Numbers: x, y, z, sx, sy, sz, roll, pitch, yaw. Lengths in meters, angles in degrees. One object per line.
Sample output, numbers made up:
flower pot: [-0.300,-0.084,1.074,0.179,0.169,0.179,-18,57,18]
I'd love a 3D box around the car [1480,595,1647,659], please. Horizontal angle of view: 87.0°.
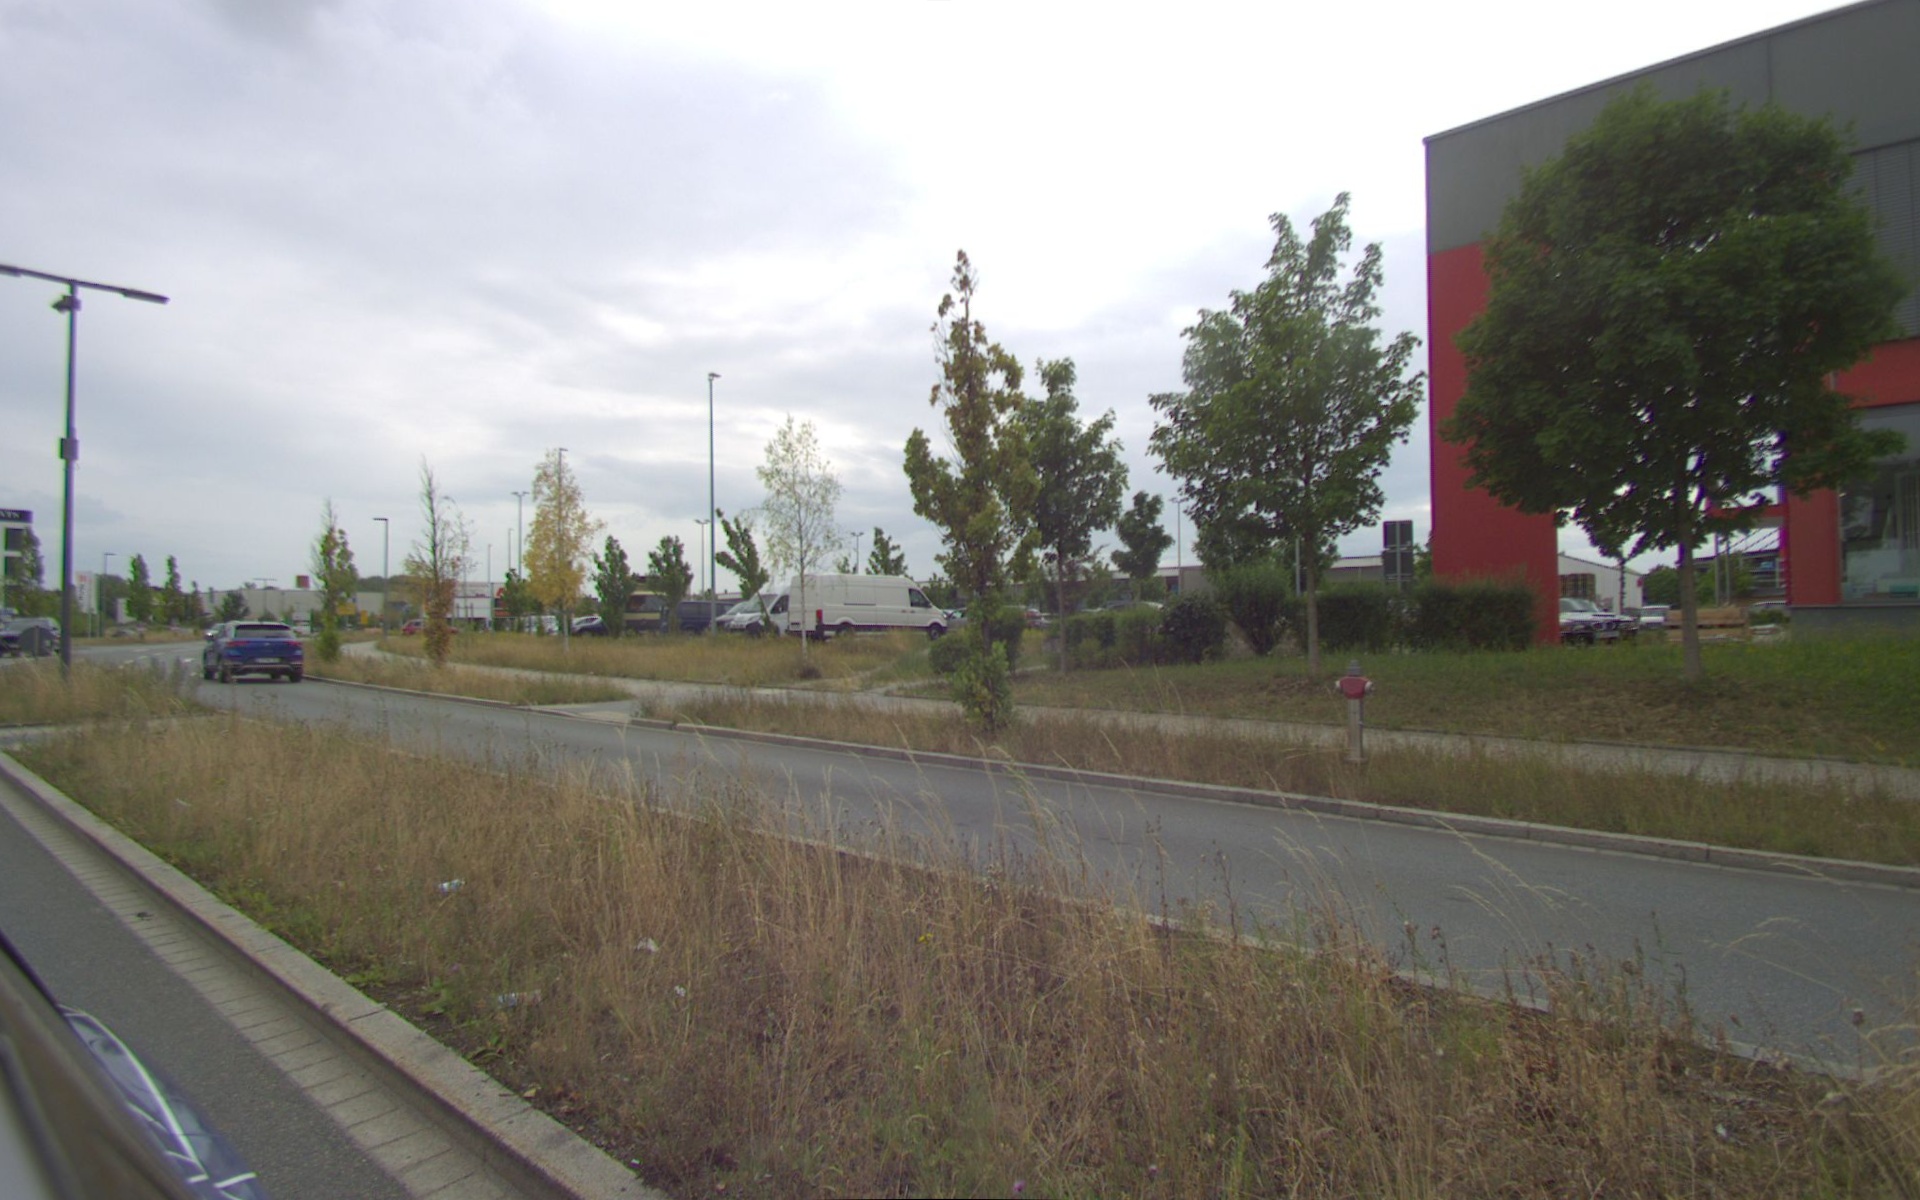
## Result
car: [13.097,0.557,22.053,1.242,1.279,2.866,-1,0,-38]

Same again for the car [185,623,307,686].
car: [-18.750,1.379,26.520,3.998,1.524,1.711,-2,-2,41]

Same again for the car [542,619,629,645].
car: [-24.710,2.119,66.803,4.976,1.669,2.068,1,-2,-39]

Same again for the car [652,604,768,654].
car: [-11.750,1.356,47.767,4.979,2.240,2.067,1,-3,-42]

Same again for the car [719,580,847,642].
car: [-7.170,0.414,41.440,2.064,2.391,4.988,-1,0,41]

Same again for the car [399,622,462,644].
car: [-38.911,2.432,74.352,3.933,1.475,1.741,-1,0,-34]

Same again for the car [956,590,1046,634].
car: [2.308,0.678,58.223,5.056,2.391,2.036,-1,0,42]

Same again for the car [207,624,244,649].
car: [-52.568,2.643,72.492,1.967,1.683,4.010,-1,-2,-34]

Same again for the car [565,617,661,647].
car: [-20.627,1.896,60.276,4.976,1.669,2.068,1,-2,-39]

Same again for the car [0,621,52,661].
car: [-42.617,1.889,45.939,1.834,1.683,4.008,-1,-2,-38]

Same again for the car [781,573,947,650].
car: [-3.495,0.381,38.018,2.066,2.644,6.326,-1,0,45]

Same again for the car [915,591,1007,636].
car: [0.008,0.730,56.225,5.056,2.391,2.036,-1,0,42]

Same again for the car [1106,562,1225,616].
car: [9.573,-0.491,47.285,5.049,2.391,2.039,-1,0,38]
